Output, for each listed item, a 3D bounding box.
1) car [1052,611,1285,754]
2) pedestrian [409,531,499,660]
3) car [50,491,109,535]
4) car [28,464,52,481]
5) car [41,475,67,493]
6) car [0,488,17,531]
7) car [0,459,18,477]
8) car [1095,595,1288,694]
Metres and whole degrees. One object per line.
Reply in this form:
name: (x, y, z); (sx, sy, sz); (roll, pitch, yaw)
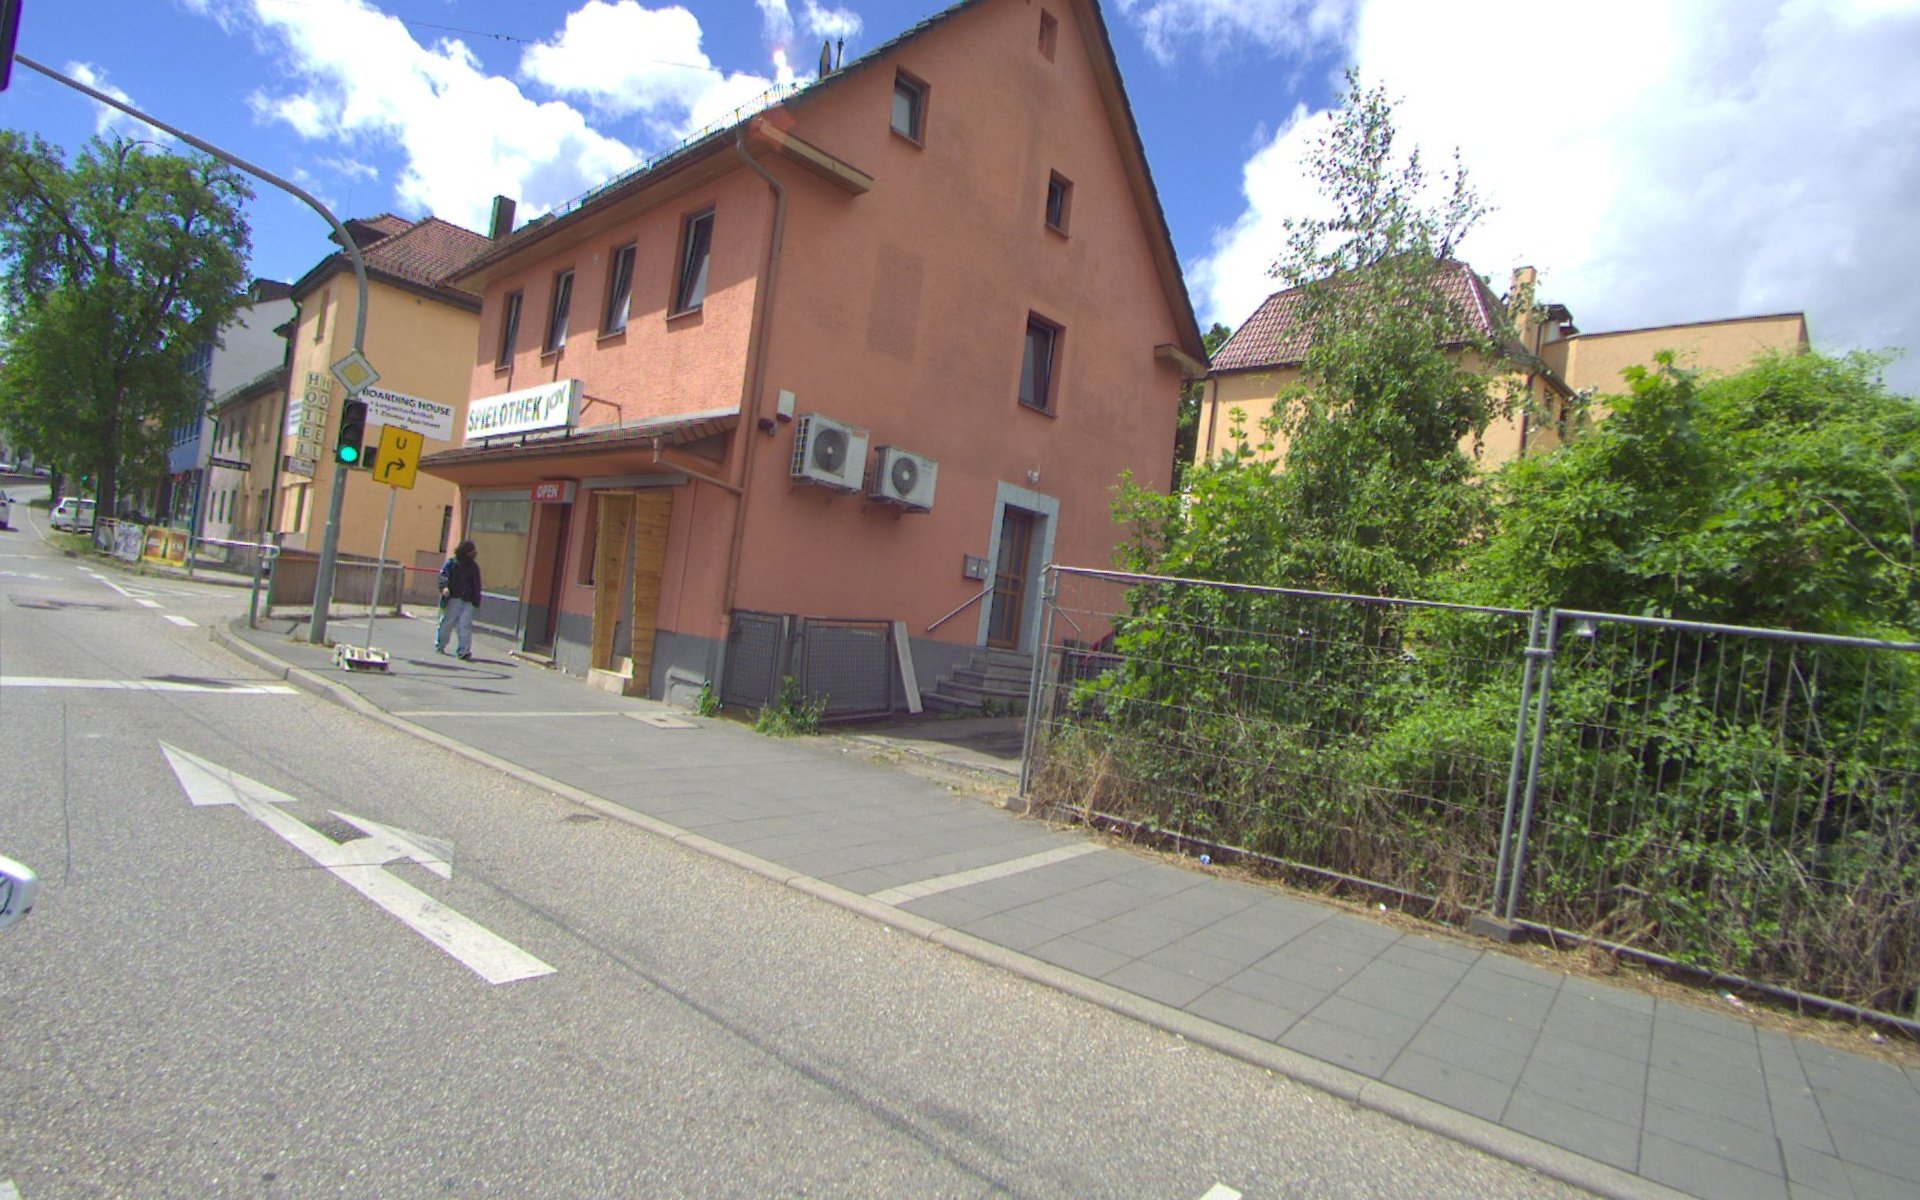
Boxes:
car: (2.790, 1.037, 13.249); (2.795, 1.516, 1.628); (4, 3, -45)
pedestrian: (-7.036, -0.060, 13.981); (0.762, 1.663, 0.767); (6, 2, -45)
car: (-39.573, -3.897, 45.175); (1.781, 1.615, 3.952); (7, -1, -43)
car: (-143.190, -19.867, 156.578); (1.981, 2.038, 3.963); (7, -1, -35)
car: (-95.129, -12.144, 105.617); (1.811, 1.485, 3.953); (11, -3, -42)
car: (-36.526, -3.581, 37.351); (3.947, 1.484, 1.815); (7, -5, 44)
car: (-132.098, -18.353, 139.014); (1.981, 2.038, 3.963); (7, -1, -35)
car: (5.527, 1.041, 24.338); (1.989, 1.804, 3.949); (8, -1, -44)
